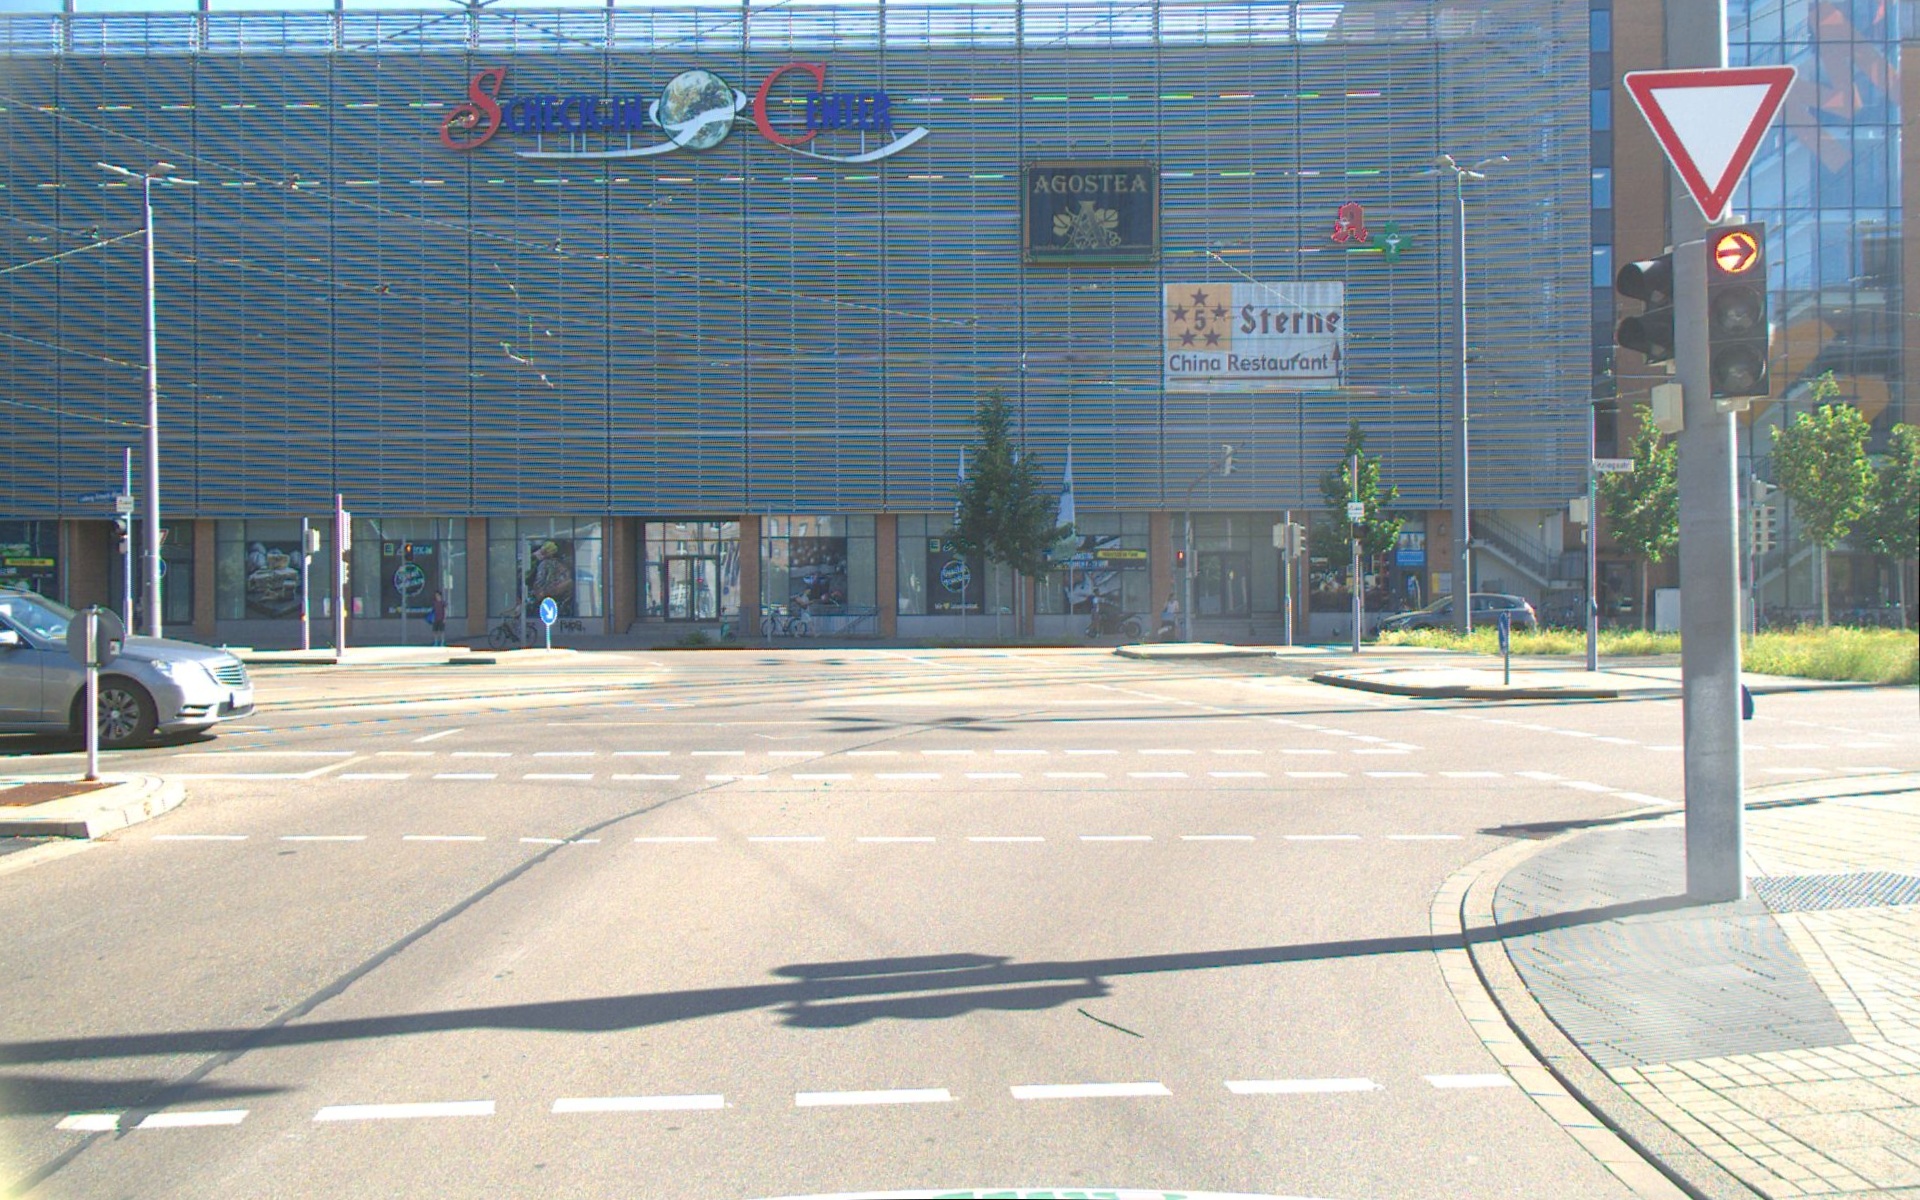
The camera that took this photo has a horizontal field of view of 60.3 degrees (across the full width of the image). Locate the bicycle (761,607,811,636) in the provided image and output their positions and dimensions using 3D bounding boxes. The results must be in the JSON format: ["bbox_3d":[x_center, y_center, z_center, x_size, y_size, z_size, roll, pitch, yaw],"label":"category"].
[{"bbox_3d":[-6.367,0.777,60.434,1.783,1.006,0.556,0,1,-11],"label":"bicycle"}]

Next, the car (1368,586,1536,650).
[{"bbox_3d":[13.668,0.498,46.047,4.063,1.495,1.840,3,-1,-2],"label":"car"}]

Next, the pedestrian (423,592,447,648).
[{"bbox_3d":[-17.340,0.660,54.670,0.683,1.829,0.727,-2,0,-17],"label":"pedestrian"}]

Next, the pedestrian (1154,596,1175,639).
[{"bbox_3d":[6.855,0.578,55.365,0.641,1.438,0.850,1,0,10],"label":"pedestrian"}]

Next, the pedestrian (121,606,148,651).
[{"bbox_3d":[-30.672,1.059,61.480,0.646,1.629,0.594,1,-1,18],"label":"pedestrian"}]

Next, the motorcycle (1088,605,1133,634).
[{"bbox_3d":[5.528,0.728,60.709,1.605,1.022,0.447,1,0,6],"label":"motorcycle"}]

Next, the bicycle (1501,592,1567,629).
[{"bbox_3d":[21.287,0.393,61.353,2.209,1.318,0.605,1,-1,-2],"label":"bicycle"}]

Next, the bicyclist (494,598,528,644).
[{"bbox_3d":[-14.801,0.688,54.546,0.663,1.452,0.844,0,2,42],"label":"bicyclist"}]

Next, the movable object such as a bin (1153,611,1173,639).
[{"bbox_3d":[6.740,0.832,54.898,0.599,0.920,0.970,1,0,10],"label":"movable object such as a bin"}]

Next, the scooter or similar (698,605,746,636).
[{"bbox_3d":[-8.748,0.746,60.782,1.759,1.085,0.611,0,1,-9],"label":"scooter or similar"}]

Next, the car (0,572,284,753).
[{"bbox_3d":[-9.064,0.550,15.454,4.759,1.599,1.705,0,0,-4],"label":"car"}]

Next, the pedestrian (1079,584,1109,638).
[{"bbox_3d":[4.801,0.379,59.159,0.991,1.860,1.036,-2,0,3],"label":"pedestrian"}]

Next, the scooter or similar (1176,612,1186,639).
[{"bbox_3d":[7.364,0.834,55.191,0.288,0.888,1.004,1,0,10],"label":"scooter or similar"}]

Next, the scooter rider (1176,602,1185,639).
[{"bbox_3d":[7.359,0.668,55.132,0.282,1.221,0.386,1,-1,10],"label":"scooter rider"}]

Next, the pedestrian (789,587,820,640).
[{"bbox_3d":[-5.601,0.486,59.501,0.930,1.860,0.846,-2,0,5],"label":"pedestrian"}]

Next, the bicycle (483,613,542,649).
[{"bbox_3d":[-14.769,1.005,54.621,0.559,1.105,1.852,0,2,42],"label":"bicycle"}]
